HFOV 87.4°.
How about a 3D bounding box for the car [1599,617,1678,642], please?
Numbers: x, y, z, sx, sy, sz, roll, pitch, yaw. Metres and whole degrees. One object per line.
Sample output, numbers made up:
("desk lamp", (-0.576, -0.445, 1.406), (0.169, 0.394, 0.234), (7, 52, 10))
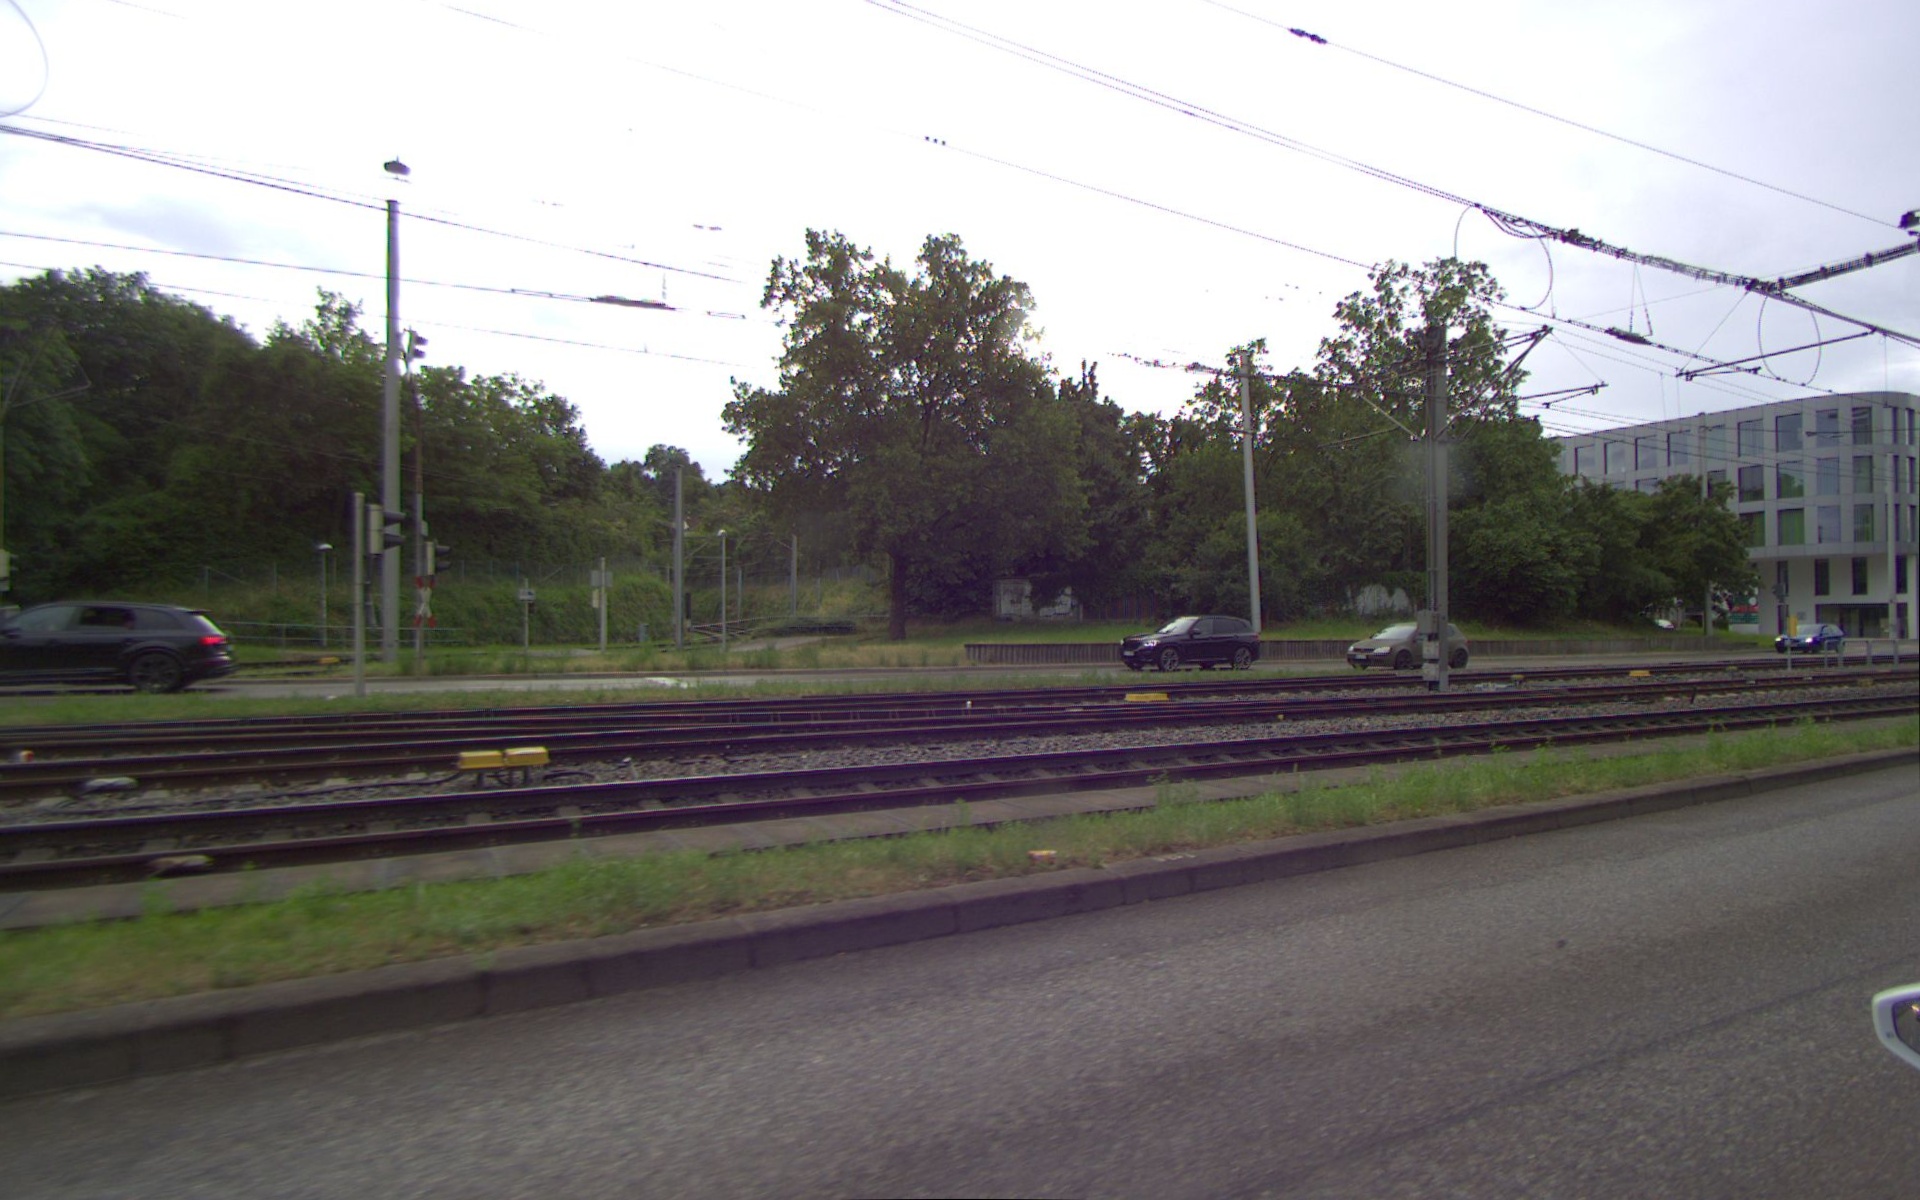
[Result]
("car", (45.494, 1.937, 67.424), (1.904, 1.472, 3.898), (1, 1, -32))

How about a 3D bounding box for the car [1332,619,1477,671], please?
("car", (13.716, 1.353, 30.951), (4.253, 1.506, 1.884), (1, -2, -28))

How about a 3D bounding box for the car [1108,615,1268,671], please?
("car", (7.044, 1.289, 30.934), (4.789, 1.616, 1.939), (1, -2, -29))

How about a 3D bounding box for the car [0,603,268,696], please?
("car", (-16.252, 0.896, 18.871), (5.093, 1.610, 2.081), (1, -2, -28))

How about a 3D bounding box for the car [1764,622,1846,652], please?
("car", (41.638, 1.795, 49.500), (3.851, 1.416, 1.754), (1, -2, -28))
